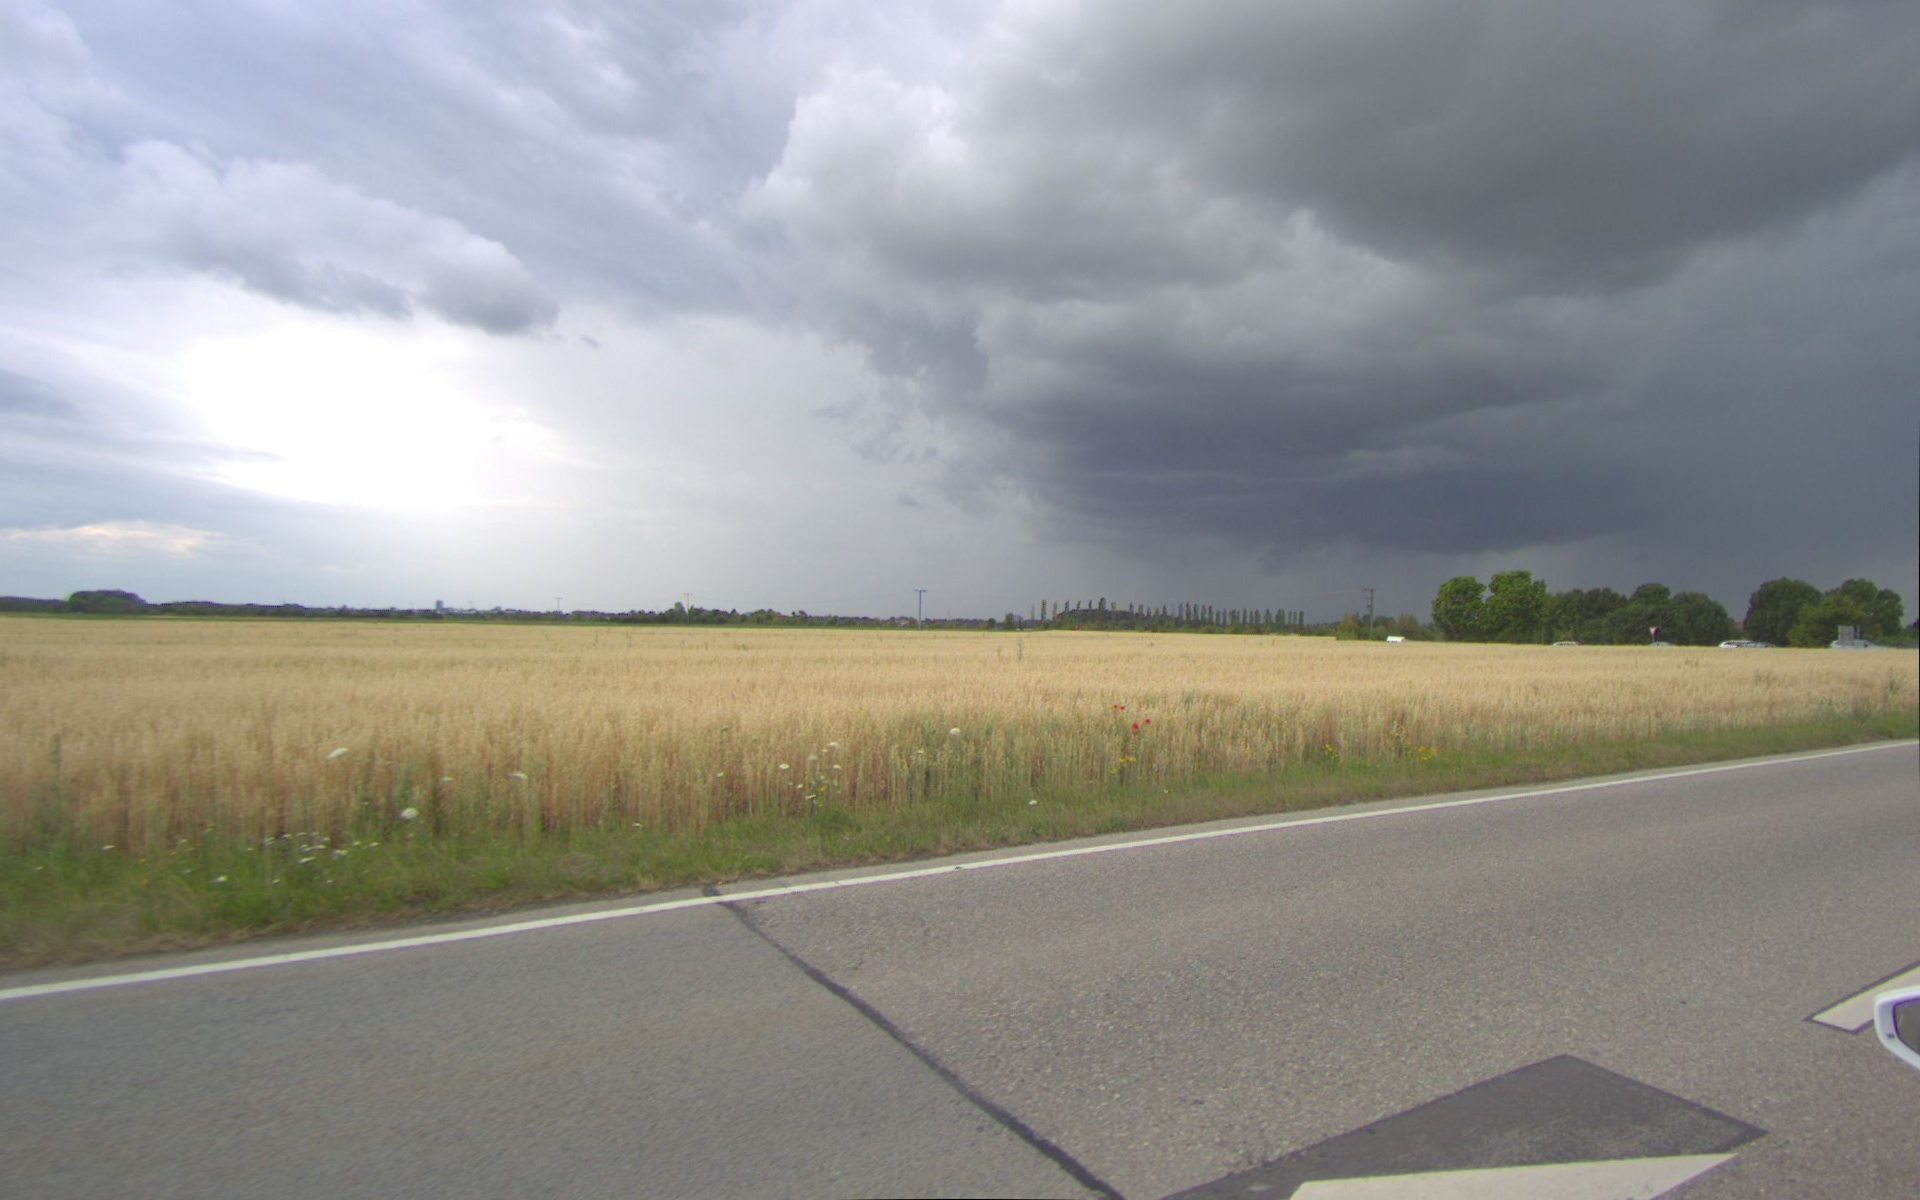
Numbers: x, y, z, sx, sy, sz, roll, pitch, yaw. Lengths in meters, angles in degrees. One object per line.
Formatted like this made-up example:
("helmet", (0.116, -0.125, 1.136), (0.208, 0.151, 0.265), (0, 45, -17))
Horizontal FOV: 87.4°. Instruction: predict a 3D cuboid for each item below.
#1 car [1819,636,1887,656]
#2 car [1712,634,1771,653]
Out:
("car", (77.619, 3.995, 87.323), (1.841, 1.670, 4.060), (1, -2, -25))
("car", (73.984, 4.126, 95.139), (1.841, 1.670, 4.060), (1, -2, -25))
